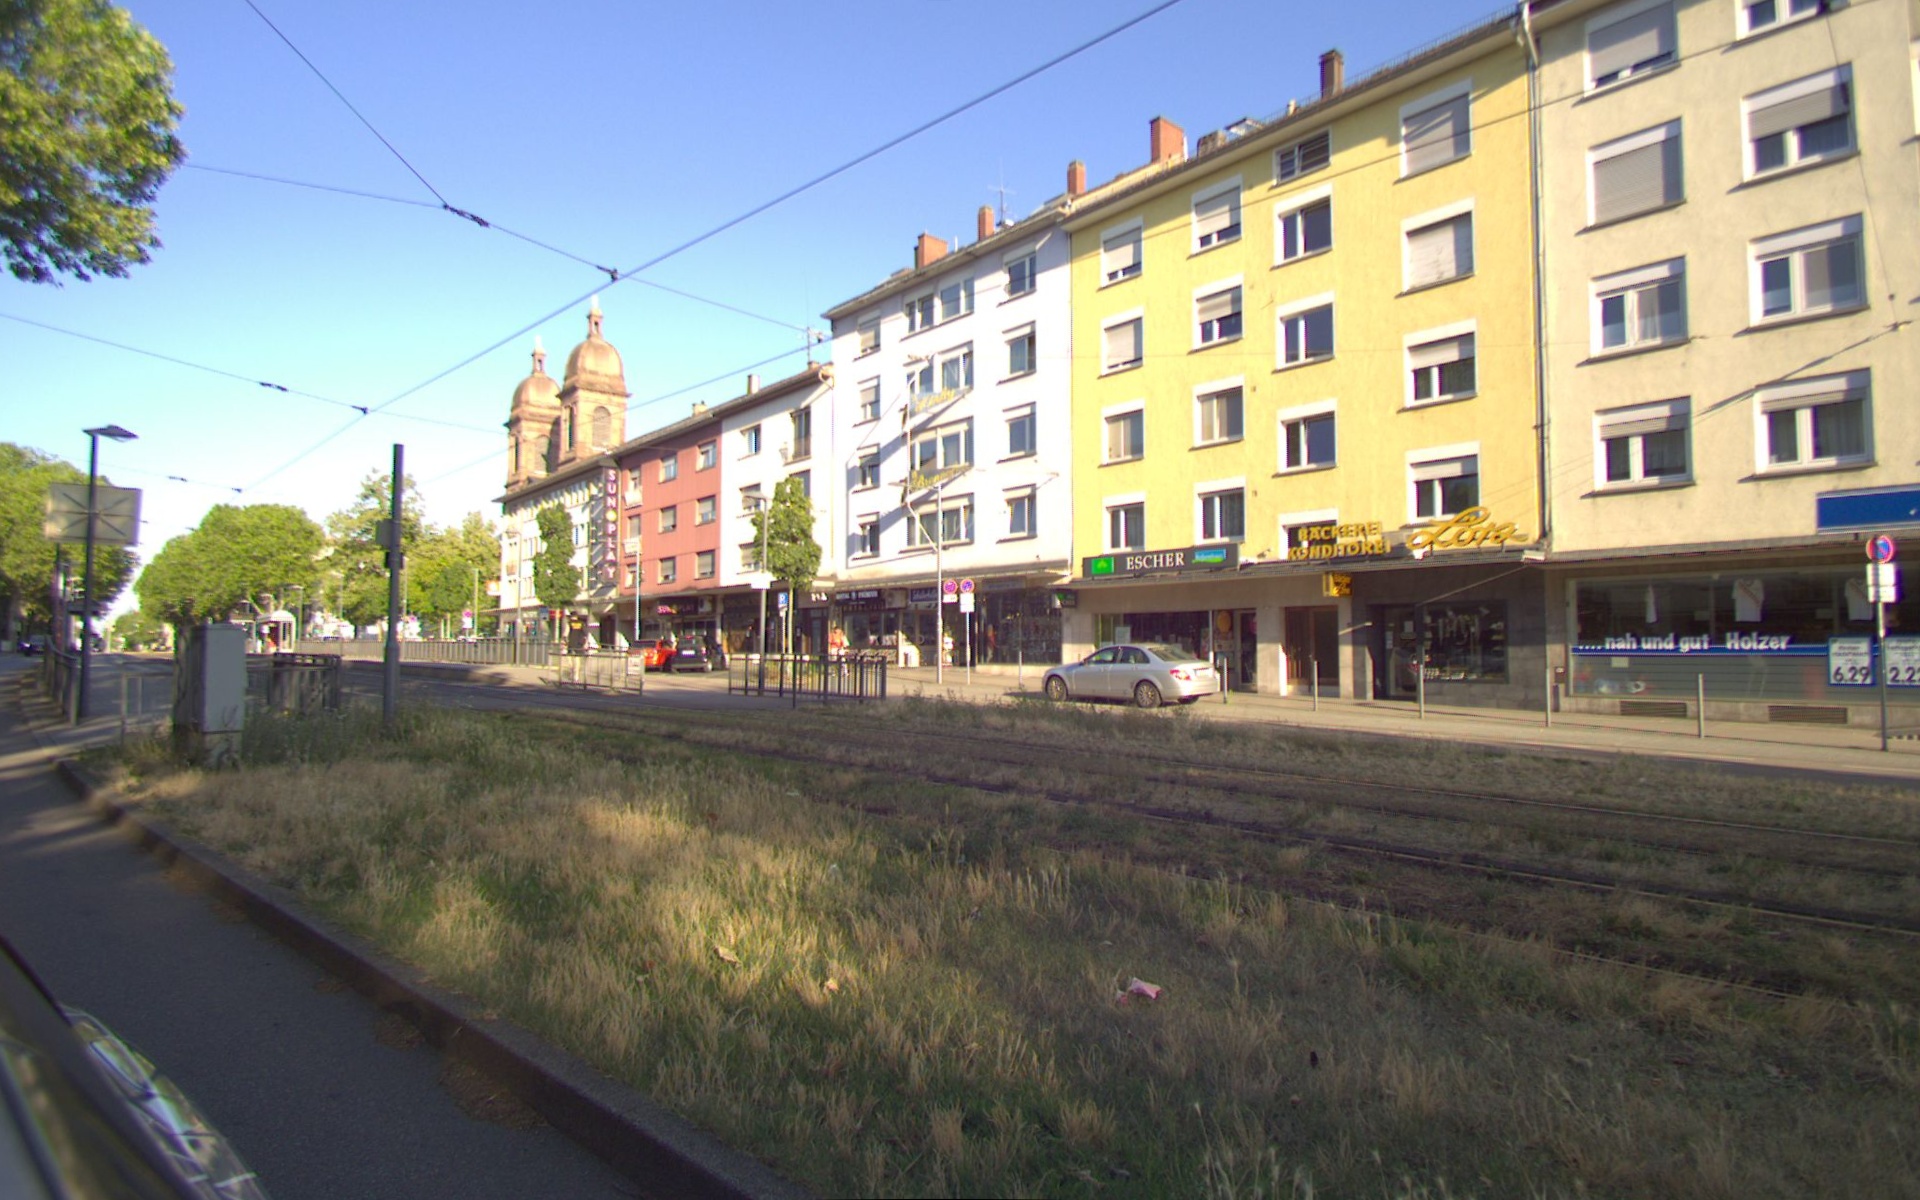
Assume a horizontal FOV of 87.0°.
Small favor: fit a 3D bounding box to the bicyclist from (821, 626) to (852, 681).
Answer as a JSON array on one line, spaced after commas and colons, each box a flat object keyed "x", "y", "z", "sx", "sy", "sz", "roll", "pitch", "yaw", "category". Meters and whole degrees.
[{"x": -4.361, "y": 1.886, "z": 35.735, "sx": 0.683, "sy": 1.901, "sz": 1.060, "roll": 2, "pitch": -3, "yaw": -32, "category": "bicyclist"}]

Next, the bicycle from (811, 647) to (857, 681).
[{"x": -4.484, "y": 2.262, "z": 35.905, "sx": 0.696, "sy": 1.168, "sz": 2.204, "roll": 2, "pitch": -3, "yaw": -33, "category": "bicycle"}]

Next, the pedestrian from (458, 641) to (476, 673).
[{"x": -28.444, "y": 3.284, "z": 58.397, "sx": 0.725, "sy": 1.801, "sz": 0.757, "roll": -2, "pitch": -2, "yaw": 45, "category": "pedestrian"}]

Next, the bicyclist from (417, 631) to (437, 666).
[{"x": -30.575, "y": 2.785, "z": 58.003, "sx": 0.754, "sy": 2.029, "sz": 0.912, "roll": 3, "pitch": -4, "yaw": -42, "category": "bicyclist"}]

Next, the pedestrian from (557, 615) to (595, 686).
[{"x": -10.300, "y": 1.342, "z": 27.147, "sx": 0.590, "sy": 1.863, "sz": 0.733, "roll": -3, "pitch": -4, "yaw": 43, "category": "pedestrian"}]

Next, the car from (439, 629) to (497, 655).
[{"x": -31.666, "y": 2.685, "z": 65.270, "sx": 1.720, "sy": 1.497, "sz": 3.998, "roll": -1, "pitch": -1, "yaw": 1, "category": "car"}]

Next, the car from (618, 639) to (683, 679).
[{"x": -13.389, "y": 2.533, "z": 43.946, "sx": 1.836, "sy": 1.502, "sz": 3.773, "roll": -1, "pitch": 0, "yaw": -3, "category": "car"}]

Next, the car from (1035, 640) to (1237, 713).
[{"x": 4.102, "y": 1.744, "z": 24.116, "sx": 1.970, "sy": 1.489, "sz": 4.414, "roll": 0, "pitch": -1, "yaw": -44, "category": "car"}]

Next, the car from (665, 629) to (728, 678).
[{"x": -10.934, "y": 2.173, "z": 42.254, "sx": 1.836, "sy": 1.813, "sz": 3.773, "roll": -1, "pitch": 0, "yaw": -3, "category": "car"}]

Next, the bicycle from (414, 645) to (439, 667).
[{"x": -30.574, "y": 3.183, "z": 57.977, "sx": 0.709, "sy": 1.239, "sz": 2.281, "roll": 3, "pitch": -4, "yaw": -42, "category": "bicycle"}]

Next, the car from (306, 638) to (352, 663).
[{"x": -46.042, "y": 3.692, "z": 73.804, "sx": 1.970, "sy": 1.730, "sz": 4.440, "roll": 3, "pitch": -4, "yaw": -43, "category": "car"}]

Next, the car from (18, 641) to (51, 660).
[{"x": -70.995, "y": 3.851, "z": 77.615, "sx": 4.002, "sy": 1.409, "sz": 1.694, "roll": -2, "pitch": -1, "yaw": 45, "category": "car"}]
